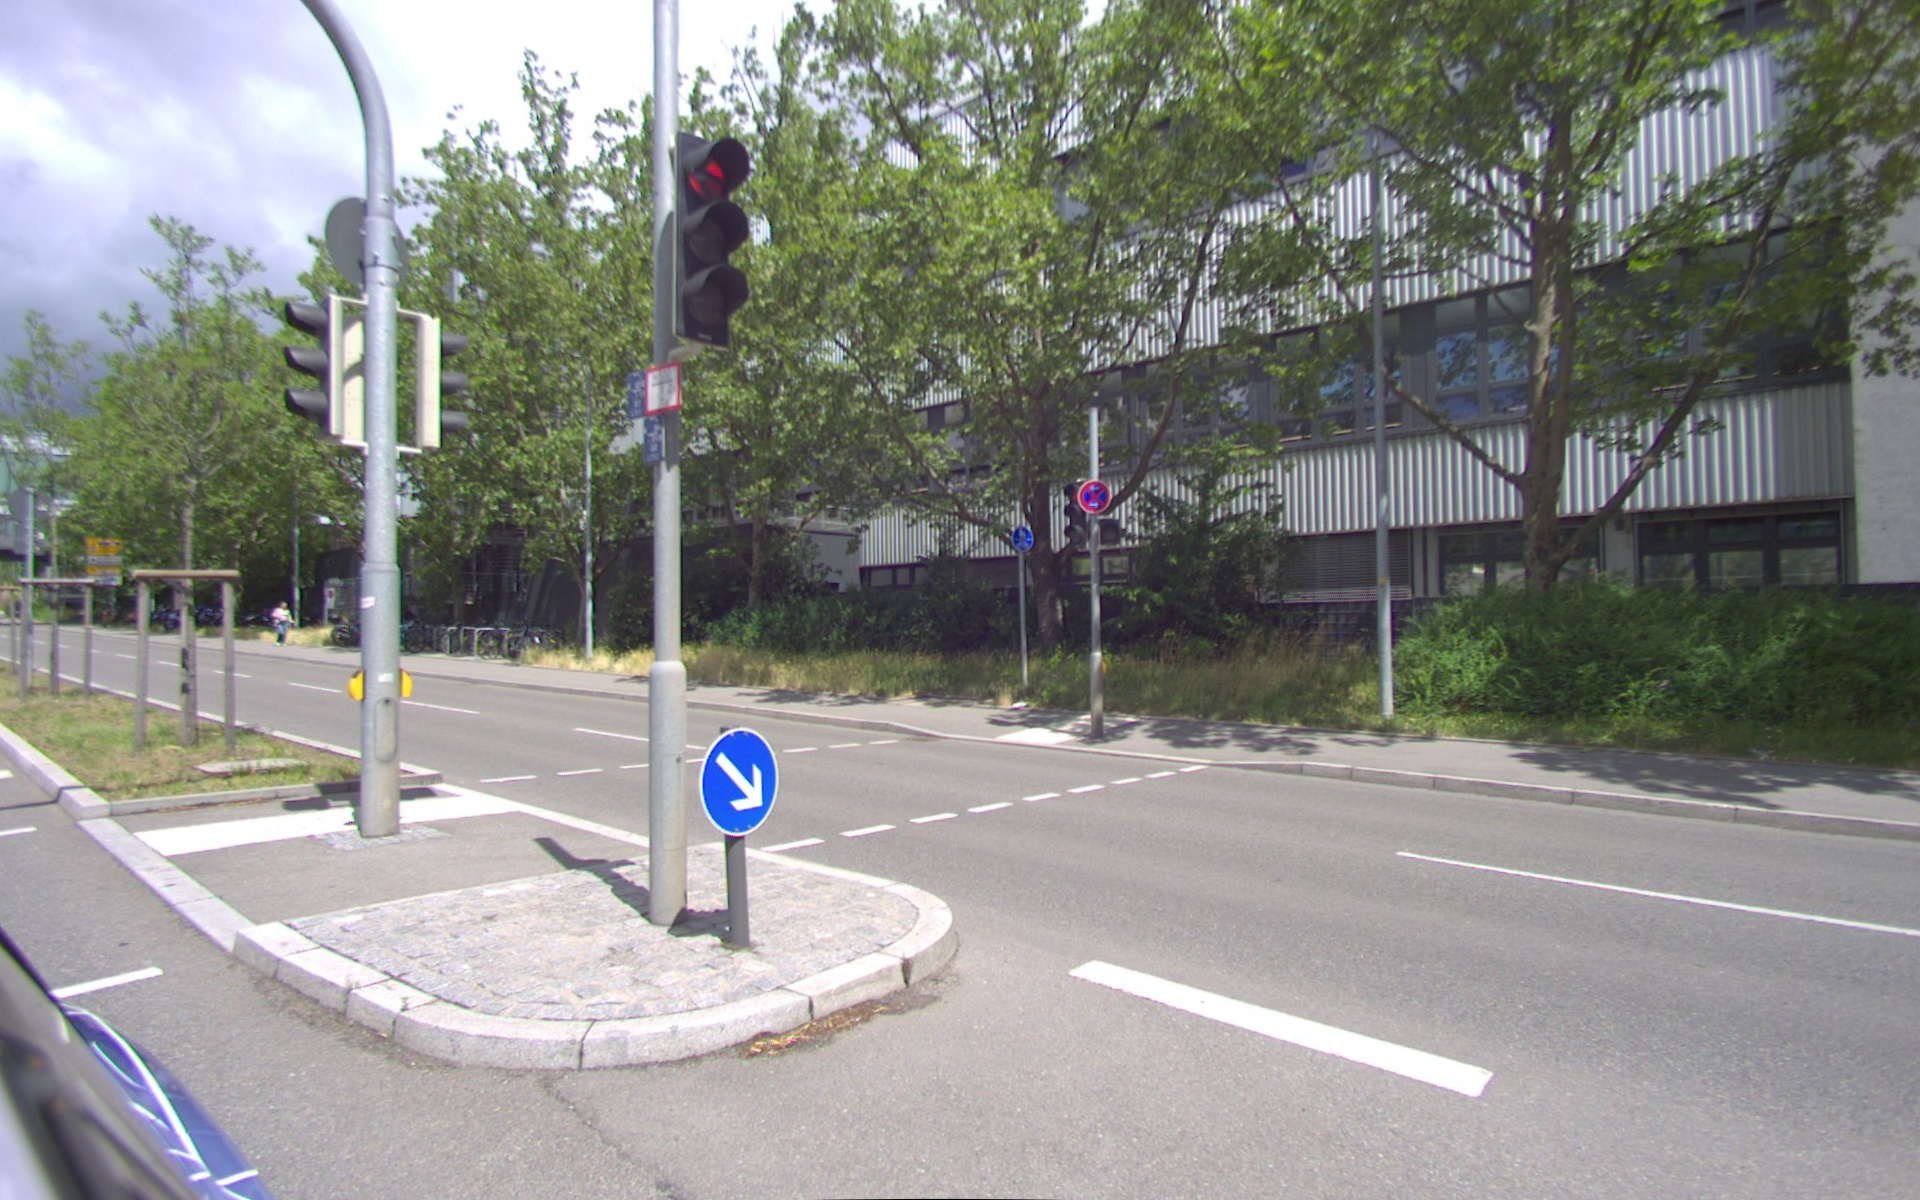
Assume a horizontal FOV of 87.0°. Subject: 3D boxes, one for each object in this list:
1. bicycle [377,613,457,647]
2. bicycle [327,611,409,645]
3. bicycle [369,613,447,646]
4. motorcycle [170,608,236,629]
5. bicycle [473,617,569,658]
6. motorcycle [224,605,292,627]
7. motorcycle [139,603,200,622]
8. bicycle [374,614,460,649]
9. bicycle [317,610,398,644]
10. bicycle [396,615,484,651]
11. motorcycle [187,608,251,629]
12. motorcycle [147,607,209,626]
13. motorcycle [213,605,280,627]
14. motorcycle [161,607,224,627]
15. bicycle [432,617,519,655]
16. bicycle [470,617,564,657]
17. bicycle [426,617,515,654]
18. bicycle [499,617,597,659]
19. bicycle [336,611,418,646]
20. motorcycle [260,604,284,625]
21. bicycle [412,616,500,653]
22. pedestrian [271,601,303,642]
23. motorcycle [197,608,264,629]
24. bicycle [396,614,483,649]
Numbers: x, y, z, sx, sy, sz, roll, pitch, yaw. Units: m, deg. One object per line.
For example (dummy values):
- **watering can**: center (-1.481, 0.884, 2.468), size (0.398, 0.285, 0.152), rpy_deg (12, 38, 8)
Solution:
- **bicycle**: center (-18.968, 1.038, 35.405), size (0.615, 1.093, 2.383), rpy_deg (-1, 0, 40)
- **bicycle**: center (-21.692, 1.006, 37.112), size (0.615, 1.187, 2.529), rpy_deg (-1, 0, 41)
- **bicycle**: center (-19.786, 1.048, 36.312), size (2.376, 1.093, 0.617), rpy_deg (-1, 0, -39)
- **motorcycle**: center (-41.533, 1.004, 55.559), size (0.600, 1.044, 2.792), rpy_deg (-5, -3, 44)
- **bicycle**: center (-12.796, 1.072, 29.589), size (2.526, 1.093, 0.616), rpy_deg (-1, 0, -44)
- **motorcycle**: center (-35.920, 0.809, 51.806), size (0.600, 1.044, 2.792), rpy_deg (-5, -3, 44)
- **motorcycle**: center (-47.136, 0.737, 60.385), size (0.600, 1.044, 2.792), rpy_deg (-5, -3, 44)
- **bicycle**: center (-18.570, 1.062, 34.656), size (2.526, 1.093, 0.616), rpy_deg (-1, 0, -44)
- **bicycle**: center (-22.432, 0.980, 37.756), size (0.615, 1.187, 2.529), rpy_deg (-1, 0, 41)
- **bicycle**: center (-17.124, 1.080, 33.369), size (0.628, 1.093, 2.527), rpy_deg (-1, 0, 44)
- **motorcycle**: center (-40.339, 0.982, 55.121), size (2.791, 1.044, 0.600), rpy_deg (-1, -3, -43)
- **motorcycle**: center (-45.592, 0.959, 59.029), size (0.600, 1.044, 2.792), rpy_deg (-5, -3, 44)
- **motorcycle**: center (-37.441, 0.829, 53.114), size (0.600, 1.044, 2.792), rpy_deg (-5, -3, 44)
- **motorcycle**: center (-43.454, 0.968, 57.315), size (0.600, 1.044, 2.792), rpy_deg (-5, -3, 44)
- **bicycle**: center (-15.080, 1.102, 31.592), size (0.614, 1.093, 2.536), rpy_deg (-1, 0, 32)
- **bicycle**: center (-13.303, 1.096, 30.445), size (2.525, 1.093, 0.616), rpy_deg (-1, 0, -42)
- **bicycle**: center (-15.594, 1.108, 32.314), size (0.615, 1.093, 2.532), rpy_deg (-1, 0, 37)
- **bicycle**: center (-11.752, 1.059, 28.934), size (2.526, 1.093, 0.616), rpy_deg (-1, 0, -44)
- **bicycle**: center (-21.046, 0.998, 36.587), size (0.615, 1.187, 2.529), rpy_deg (-1, 0, 41)
- **motorcycle**: center (-39.139, 0.830, 57.556), size (2.590, 1.044, 0.591), rpy_deg (-5, -3, 44)
- **bicycle**: center (-16.261, 1.106, 32.742), size (0.615, 1.093, 2.531), rpy_deg (-1, 0, 39)
- **pedestrian**: center (-25.825, 0.832, 38.844), size (0.749, 1.544, 0.836), rpy_deg (-1, 0, 41)
- **motorcycle**: center (-38.704, 0.960, 53.742), size (0.600, 1.044, 2.792), rpy_deg (-5, -3, 44)
- **bicycle**: center (-17.554, 1.061, 34.175), size (2.522, 1.093, 0.617), rpy_deg (-1, 0, -37)
